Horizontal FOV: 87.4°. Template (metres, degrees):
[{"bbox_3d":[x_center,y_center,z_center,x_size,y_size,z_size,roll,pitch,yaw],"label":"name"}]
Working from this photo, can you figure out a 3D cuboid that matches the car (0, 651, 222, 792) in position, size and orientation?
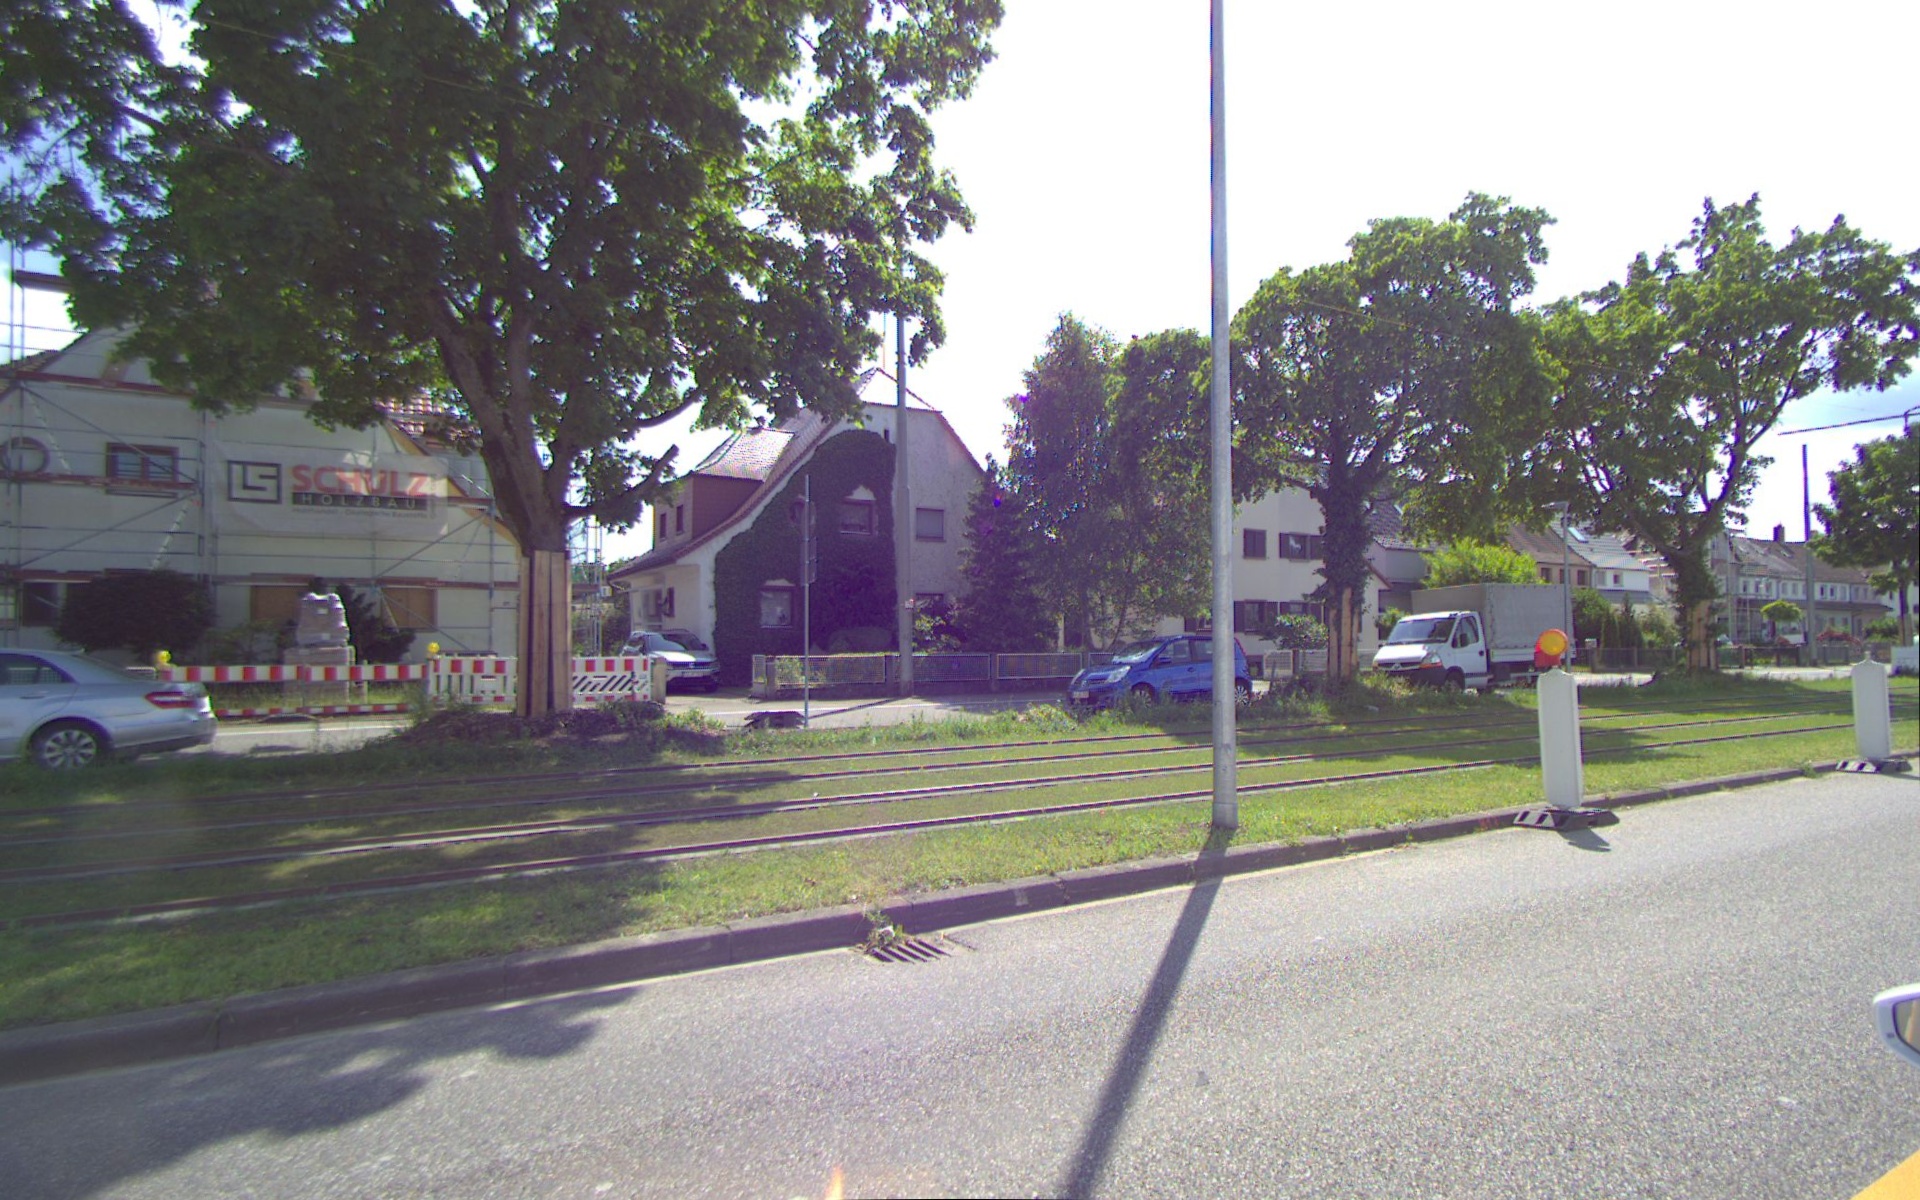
[{"bbox_3d":[-11.318,1.313,11.083,4.881,1.501,1.797,2,-3,-30],"label":"car"}]

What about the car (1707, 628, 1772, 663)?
[{"bbox_3d":[40.816,2.393,52.602,2.994,1.744,1.677,2,-3,-30],"label":"car"}]

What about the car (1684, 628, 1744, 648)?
[{"bbox_3d":[42.362,2.177,56.408,3.943,1.066,1.673,2,-4,-37],"label":"car"}]

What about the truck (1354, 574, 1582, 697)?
[{"bbox_3d":[12.933,0.930,25.442,6.202,2.803,1.985,1,-5,-30],"label":"truck"}]

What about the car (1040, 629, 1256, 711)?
[{"bbox_3d":[3.773,1.367,20.028,3.956,1.472,1.983,2,-3,-32],"label":"car"}]

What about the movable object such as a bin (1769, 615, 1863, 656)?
[{"bbox_3d":[52.883,2.204,62.167,4.284,2.481,1.781,-2,-3,39],"label":"movable object such as a bin"}]

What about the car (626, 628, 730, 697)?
[{"bbox_3d":[-7.614,1.651,26.890,1.851,1.706,3.631,2,-3,-30],"label":"car"}]

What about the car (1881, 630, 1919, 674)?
[{"bbox_3d":[40.713,2.187,42.097,3.953,1.772,1.985,2,-3,-30],"label":"car"}]
